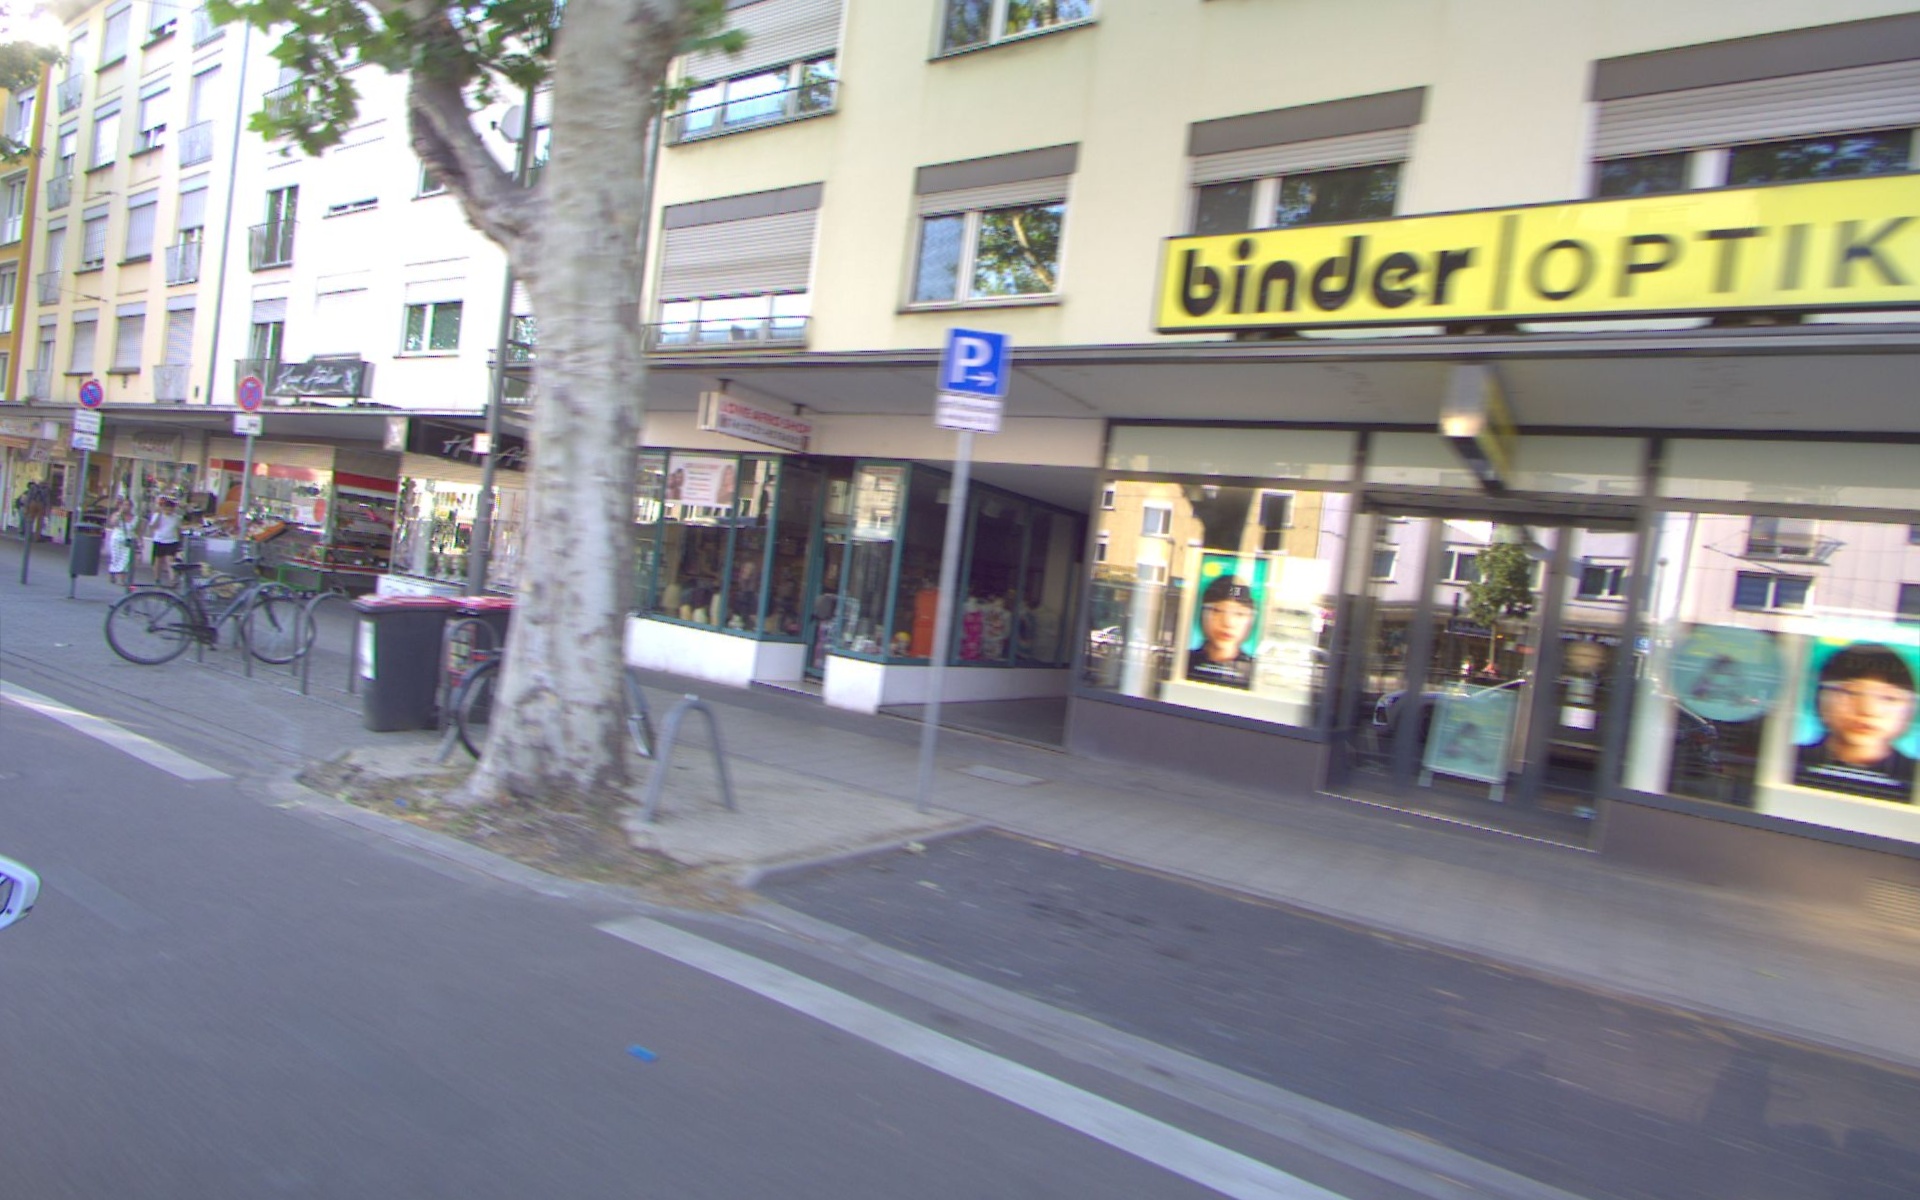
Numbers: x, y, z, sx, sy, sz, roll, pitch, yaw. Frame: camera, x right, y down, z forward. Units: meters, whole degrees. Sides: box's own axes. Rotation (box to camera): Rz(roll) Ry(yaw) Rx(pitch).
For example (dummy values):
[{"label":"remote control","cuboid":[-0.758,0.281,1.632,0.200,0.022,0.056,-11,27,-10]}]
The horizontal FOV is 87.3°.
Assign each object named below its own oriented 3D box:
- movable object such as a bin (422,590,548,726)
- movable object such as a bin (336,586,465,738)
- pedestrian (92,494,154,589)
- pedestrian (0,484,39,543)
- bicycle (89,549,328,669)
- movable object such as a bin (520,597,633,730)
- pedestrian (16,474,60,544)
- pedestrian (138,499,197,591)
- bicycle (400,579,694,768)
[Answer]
[{"label":"movable object such as a bin","cuboid":[-4.197,0.499,8.907,0.633,1.086,0.722,7,2,31]},{"label":"movable object such as a bin","cuboid":[-4.547,0.481,8.180,0.635,1.118,0.720,7,5,40]},{"label":"pedestrian","cuboid":[-14.947,-1.031,17.958,0.616,1.608,0.635,7,3,32]},{"label":"pedestrian","cuboid":[-26.678,-2.453,28.525,0.620,1.566,0.632,6,1,-33]},{"label":"bicycle","cuboid":[-7.796,0.118,10.528,0.510,1.120,1.903,8,3,39]},{"label":"movable object such as a bin","cuboid":[-3.423,0.563,8.975,0.718,1.086,0.637,4,2,-38]},{"label":"pedestrian","cuboid":[-25.400,-2.489,27.726,0.630,1.826,0.622,6,1,-28]},{"label":"pedestrian","cuboid":[-14.627,-1.014,18.566,0.616,1.608,0.622,7,3,32]},{"label":"bicycle","cuboid":[-2.820,0.525,7.055,0.734,1.130,1.720,3,-3,33]}]
